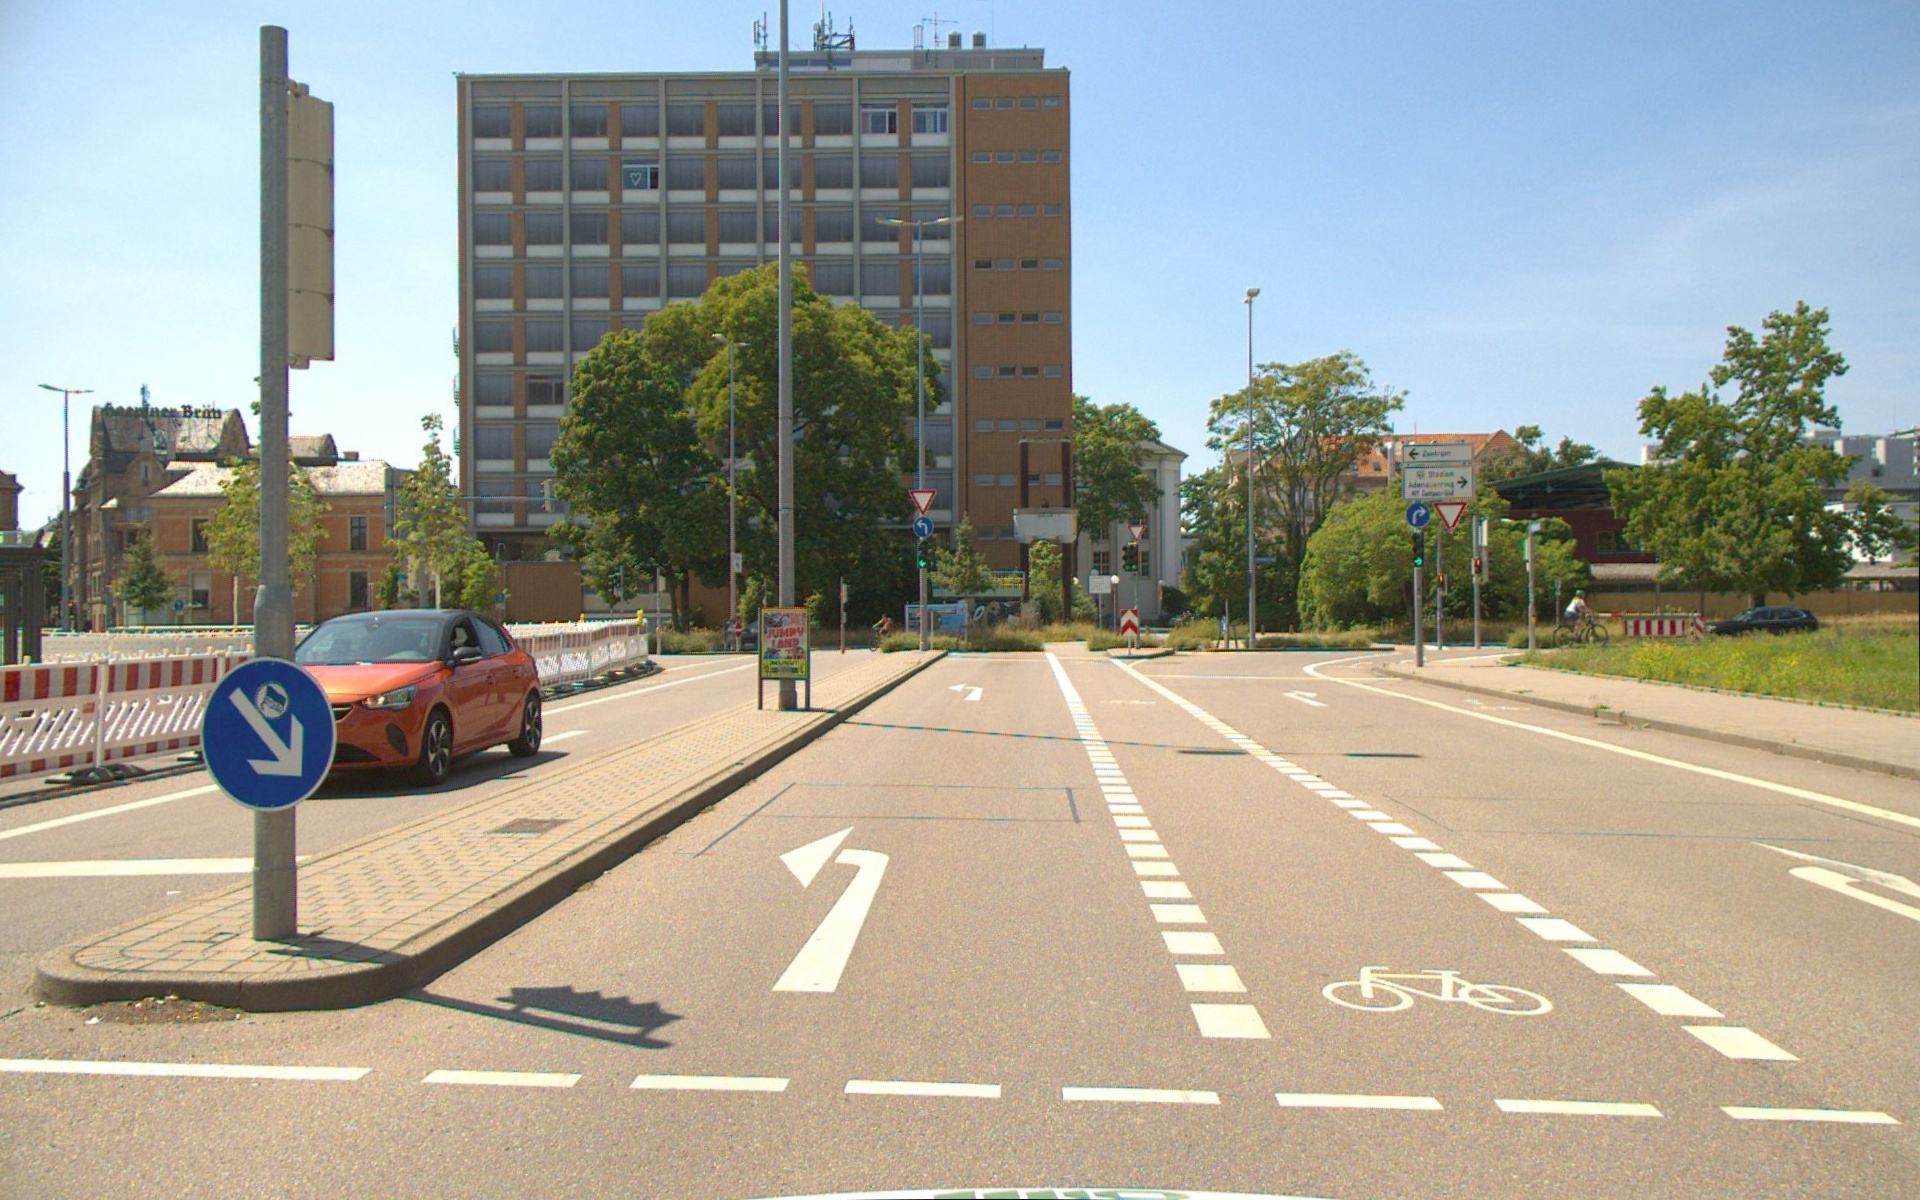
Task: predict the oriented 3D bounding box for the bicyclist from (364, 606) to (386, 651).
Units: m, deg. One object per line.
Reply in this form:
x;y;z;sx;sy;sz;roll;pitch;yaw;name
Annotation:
-20.799;1.015;58.820;0.486;1.607;0.531;-2;-2;19;bicyclist

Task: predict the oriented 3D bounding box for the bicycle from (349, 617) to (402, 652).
-20.771;1.220;58.812;1.853;1.201;0.524;-2;-2;19;bicycle

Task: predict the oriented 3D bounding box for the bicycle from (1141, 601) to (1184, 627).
16.647;1.158;136.011;3.375;2.049;0.761;1;-1;4;bicycle

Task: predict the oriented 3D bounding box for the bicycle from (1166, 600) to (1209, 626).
18.442;1.072;134.227;3.375;2.049;0.761;1;-1;4;bicycle

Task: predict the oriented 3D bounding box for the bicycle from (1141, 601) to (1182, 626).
16.845;1.141;138.403;3.375;2.049;0.761;1;-1;4;bicycle

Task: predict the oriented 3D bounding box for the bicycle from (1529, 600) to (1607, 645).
18.020;0.664;49.036;2.142;1.259;0.520;1;-1;-6;bicycle

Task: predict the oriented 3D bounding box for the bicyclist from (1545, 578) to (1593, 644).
18.020;0.328;48.961;1.113;1.920;0.708;1;-1;-7;bicyclist

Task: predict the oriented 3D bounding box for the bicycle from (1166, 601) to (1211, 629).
17.510;1.164;126.709;3.375;2.049;0.761;1;-1;4;bicycle

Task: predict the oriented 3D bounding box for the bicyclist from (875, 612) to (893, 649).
-3.614;1.450;78.916;0.542;1.745;0.698;1;1;43;bicyclist

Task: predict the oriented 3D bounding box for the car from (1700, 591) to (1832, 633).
32.450;0.493;66.697;4.444;1.614;1.710;-1;-1;8;car

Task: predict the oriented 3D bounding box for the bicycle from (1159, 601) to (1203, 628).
17.759;1.156;132.853;3.375;2.049;0.761;1;-1;4;bicycle

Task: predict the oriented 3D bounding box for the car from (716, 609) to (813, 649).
-8.196;1.210;69.393;3.682;1.579;1.620;1;-1;14;car

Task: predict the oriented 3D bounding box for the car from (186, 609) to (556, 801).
-4.998;0.824;14.653;1.653;1.402;4.014;-2;-1;2;car

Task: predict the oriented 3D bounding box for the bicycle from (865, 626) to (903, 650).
-3.624;1.808;78.903;0.549;1.063;1.984;0;1;43;bicycle
